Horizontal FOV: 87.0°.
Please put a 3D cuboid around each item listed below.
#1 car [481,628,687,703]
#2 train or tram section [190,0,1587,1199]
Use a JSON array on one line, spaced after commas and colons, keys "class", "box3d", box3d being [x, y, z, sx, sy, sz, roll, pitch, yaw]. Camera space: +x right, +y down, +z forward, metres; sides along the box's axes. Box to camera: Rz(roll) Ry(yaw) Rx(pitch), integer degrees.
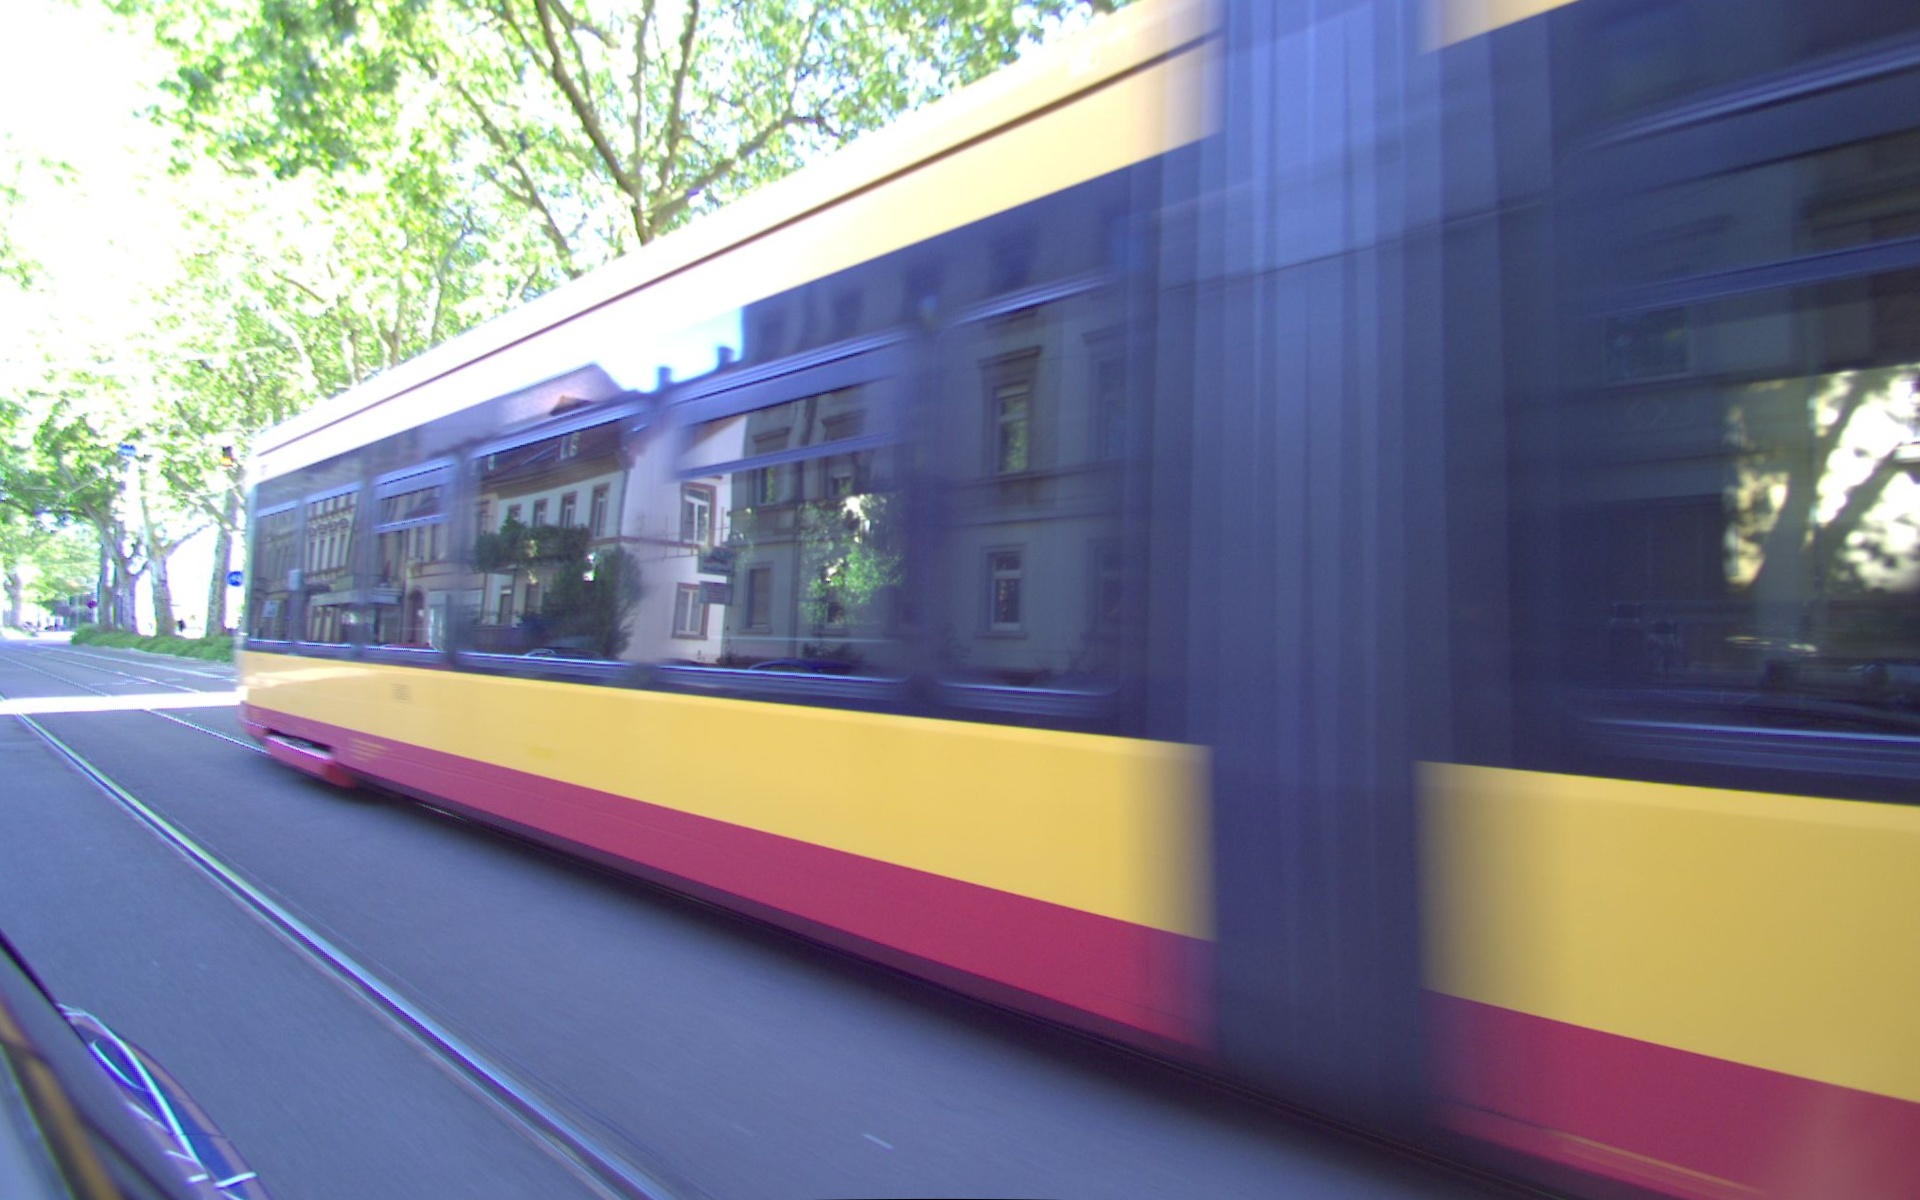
[{"class": "car", "box3d": [-7.952, 1.323, 21.707, 1.526, 1.442, 3.948, -1, -2, 38]}, {"class": "train or tram section", "box3d": [-2.748, -0.257, 7.665, 12.412, 3.646, 2.905, -1, 0, 43]}]
